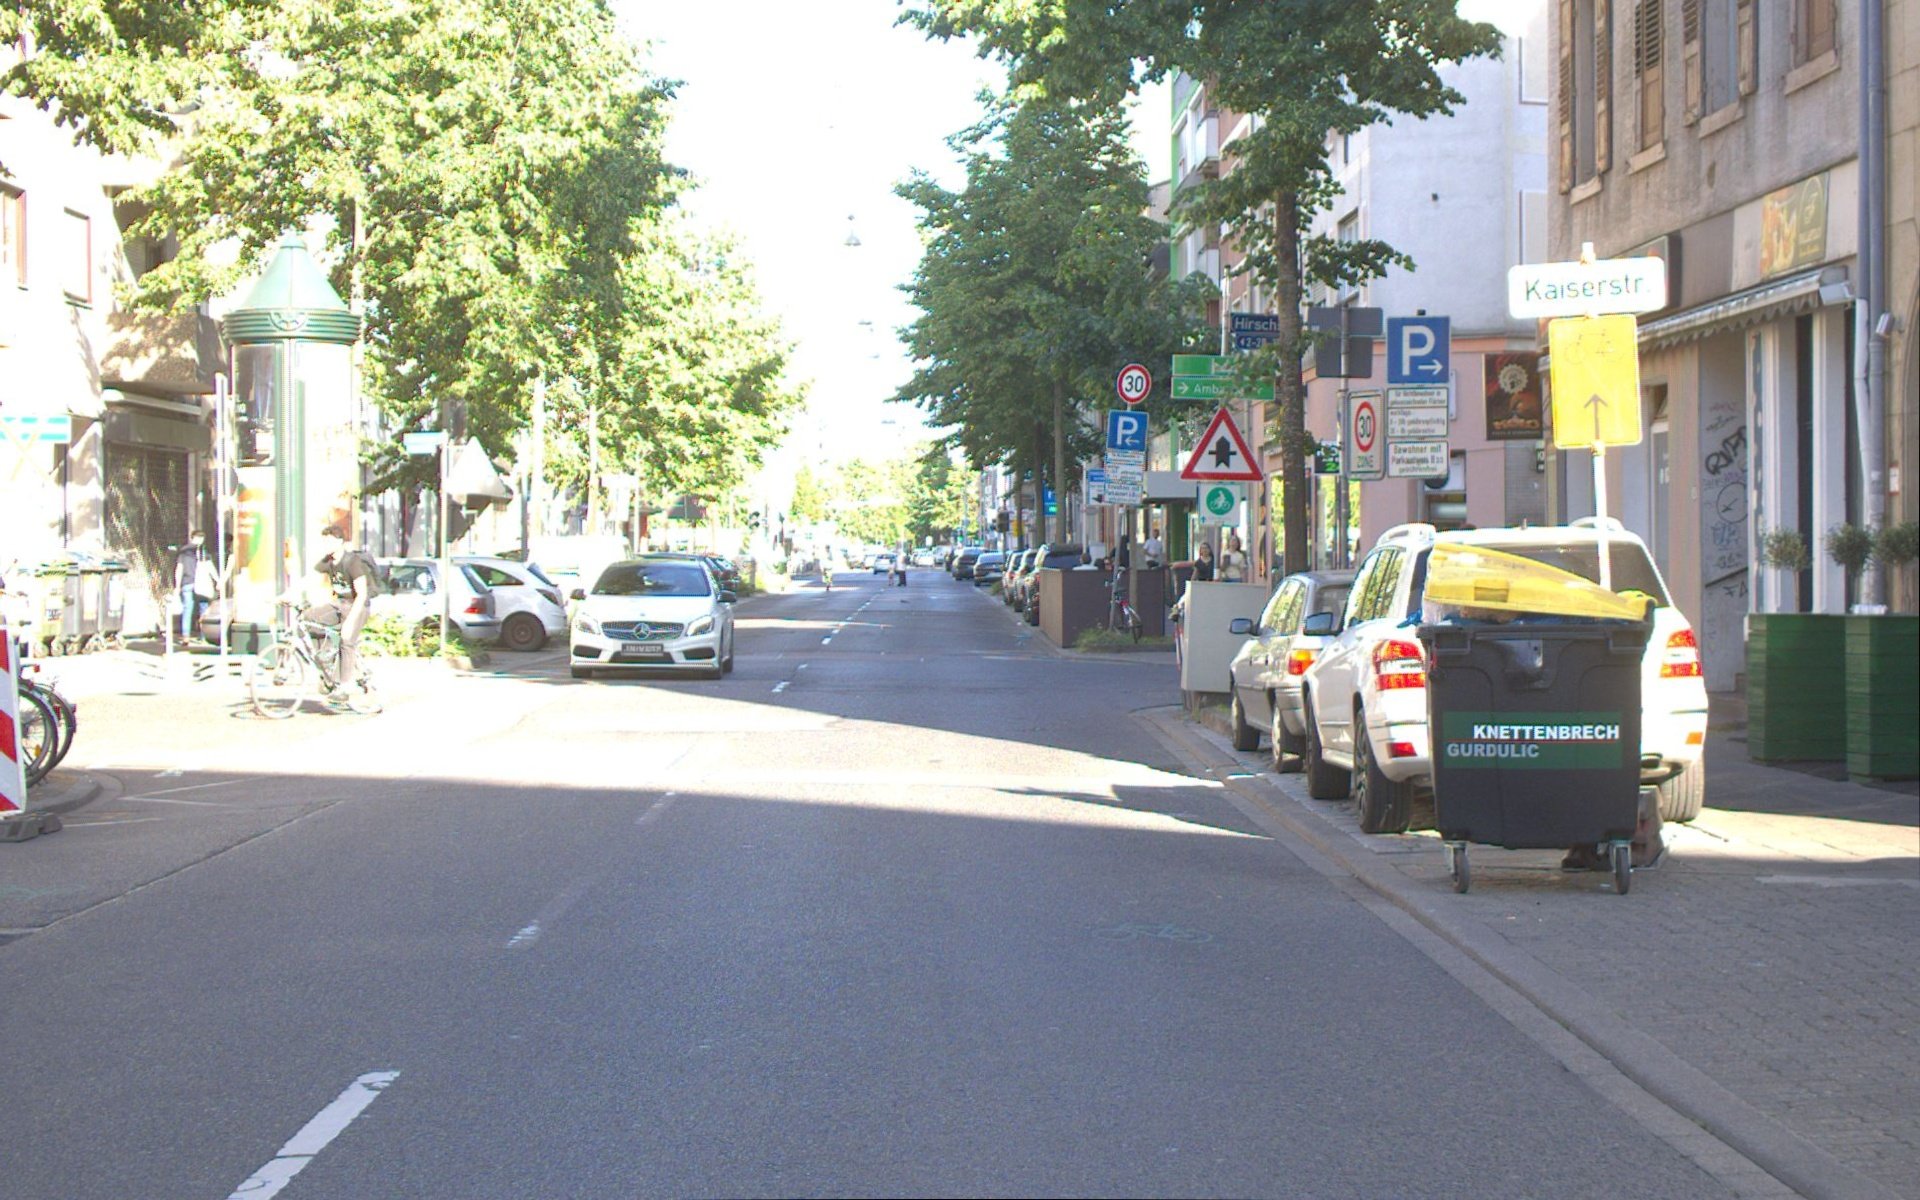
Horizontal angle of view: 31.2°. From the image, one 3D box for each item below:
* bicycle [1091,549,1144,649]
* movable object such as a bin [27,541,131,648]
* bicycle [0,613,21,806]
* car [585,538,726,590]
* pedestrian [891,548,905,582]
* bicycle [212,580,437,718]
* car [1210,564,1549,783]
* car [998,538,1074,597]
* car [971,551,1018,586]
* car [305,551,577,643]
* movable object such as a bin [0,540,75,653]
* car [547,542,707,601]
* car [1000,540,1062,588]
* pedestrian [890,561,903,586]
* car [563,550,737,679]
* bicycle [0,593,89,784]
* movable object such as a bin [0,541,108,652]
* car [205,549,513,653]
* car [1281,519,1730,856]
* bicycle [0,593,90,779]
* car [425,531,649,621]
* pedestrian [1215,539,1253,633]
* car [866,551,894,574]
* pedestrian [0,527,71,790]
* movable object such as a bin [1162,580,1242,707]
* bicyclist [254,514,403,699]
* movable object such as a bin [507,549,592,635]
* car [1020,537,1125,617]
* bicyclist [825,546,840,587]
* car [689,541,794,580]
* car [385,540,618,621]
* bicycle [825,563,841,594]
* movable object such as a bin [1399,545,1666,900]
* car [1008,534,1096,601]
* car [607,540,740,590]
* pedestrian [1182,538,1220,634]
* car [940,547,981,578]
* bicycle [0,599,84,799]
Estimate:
[{"bbox_3d":[2.378,-0.030,51.987,0.560,1.436,1.628,-6,1,-1],"label":"bicycle"},{"bbox_3d":[-12.472,-0.090,48.686,1.171,1.480,1.315,0,1,-3],"label":"movable object such as a bin"},{"bbox_3d":[-6.798,0.657,21.226,1.854,1.166,0.600,1,1,-8],"label":"bicycle"},{"bbox_3d":[-8.865,-1.062,100.273,3.986,1.494,2.000,0,1,-1],"label":"car"},{"bbox_3d":[-2.681,-1.509,148.255,0.545,1.467,0.546,-1,1,-3],"label":"pedestrian"},{"bbox_3d":[-5.906,0.437,32.042,0.721,1.215,2.031,1,1,42],"label":"bicycle"},{"bbox_3d":[3.002,0.473,25.463,1.822,1.386,4.301,-3,1,-2],"label":"car"},{"bbox_3d":[2.136,-0.946,97.661,1.993,1.604,4.000,0,1,-1],"label":"car"},{"bbox_3d":[1.530,-1.401,153.025,1.993,1.503,4.000,1,0,-1],"label":"car"},{"bbox_3d":[-8.080,-0.057,53.830,3.986,1.385,2.000,0,1,-1],"label":"car"},{"bbox_3d":[-12.446,-0.057,45.600,1.140,1.480,1.236,0,1,-3],"label":"movable object such as a bin"},{"bbox_3d":[-8.649,-0.758,89.506,3.986,1.494,2.000,0,1,-1],"label":"car"},{"bbox_3d":[2.413,-1.261,118.002,1.993,1.604,4.000,0,1,-1],"label":"car"},{"bbox_3d":[-2.718,-1.140,147.764,0.545,1.023,0.546,-1,1,-3],"label":"pedestrian"},{"bbox_3d":[-3.723,0.130,41.921,1.802,1.430,4.410,-2,1,-2],"label":"car"},{"bbox_3d":[-6.797,0.574,22.912,1.854,1.248,0.600,1,1,-8],"label":"bicycle"},{"bbox_3d":[-12.390,-0.059,47.057,1.171,1.480,1.315,0,1,-3],"label":"movable object such as a bin"},{"bbox_3d":[-8.349,-0.001,48.042,3.986,1.385,2.000,0,1,-1],"label":"car"},{"bbox_3d":[3.045,0.418,20.142,1.822,1.673,4.601,-2,1,0],"label":"car"},{"bbox_3d":[-6.956,0.575,23.552,1.854,1.248,0.600,1,1,-8],"label":"bicycle"},{"bbox_3d":[-8.179,-0.478,66.739,3.987,1.688,2.000,0,1,4],"label":"car"},{"bbox_3d":[4.796,-0.251,60.173,0.547,1.644,0.665,0,1,-5],"label":"pedestrian"},{"bbox_3d":[-5.221,-2.463,225.234,1.792,1.406,4.000,0,1,-1],"label":"car"},{"bbox_3d":[-6.365,0.369,22.572,0.792,1.702,0.767,0,1,-33],"label":"pedestrian"},{"bbox_3d":[2.373,0.423,33.781,0.705,1.218,0.681,0,1,-3],"label":"movable object such as a bin"},{"bbox_3d":[-5.882,0.050,32.060,0.721,1.687,1.154,1,1,42],"label":"bicyclist"},{"bbox_3d":[-7.221,-0.149,60.509,1.334,1.473,1.480,0,1,-1],"label":"movable object such as a bin"},{"bbox_3d":[2.322,-0.498,71.602,1.993,1.604,4.000,0,1,-1],"label":"car"},{"bbox_3d":[-4.878,-1.282,131.709,0.560,1.542,0.728,1,0,-1],"label":"bicyclist"},{"bbox_3d":[-8.534,-1.561,134.481,3.986,1.494,2.000,0,1,-1],"label":"car"},{"bbox_3d":[-8.503,-0.373,63.939,3.987,1.452,1.868,0,1,4],"label":"car"},{"bbox_3d":[-4.873,-0.811,131.696,0.560,1.176,1.628,1,0,-1],"label":"bicycle"},{"bbox_3d":[2.617,0.531,15.868,1.143,1.556,1.459,-1,1,8],"label":"movable object such as a bin"},{"bbox_3d":[2.248,-0.820,85.022,1.993,1.604,4.000,0,1,-1],"label":"car"},{"bbox_3d":[-8.865,-1.086,106.520,3.986,1.494,2.000,0,1,-1],"label":"car"},{"bbox_3d":[4.167,-0.242,59.546,0.547,1.644,0.665,0,1,-5],"label":"pedestrian"},{"bbox_3d":[0.022,-1.893,172.454,1.993,1.503,4.000,1,0,-1],"label":"car"},{"bbox_3d":[-6.575,0.616,21.899,1.854,1.248,0.600,1,1,-8],"label":"bicycle"}]
